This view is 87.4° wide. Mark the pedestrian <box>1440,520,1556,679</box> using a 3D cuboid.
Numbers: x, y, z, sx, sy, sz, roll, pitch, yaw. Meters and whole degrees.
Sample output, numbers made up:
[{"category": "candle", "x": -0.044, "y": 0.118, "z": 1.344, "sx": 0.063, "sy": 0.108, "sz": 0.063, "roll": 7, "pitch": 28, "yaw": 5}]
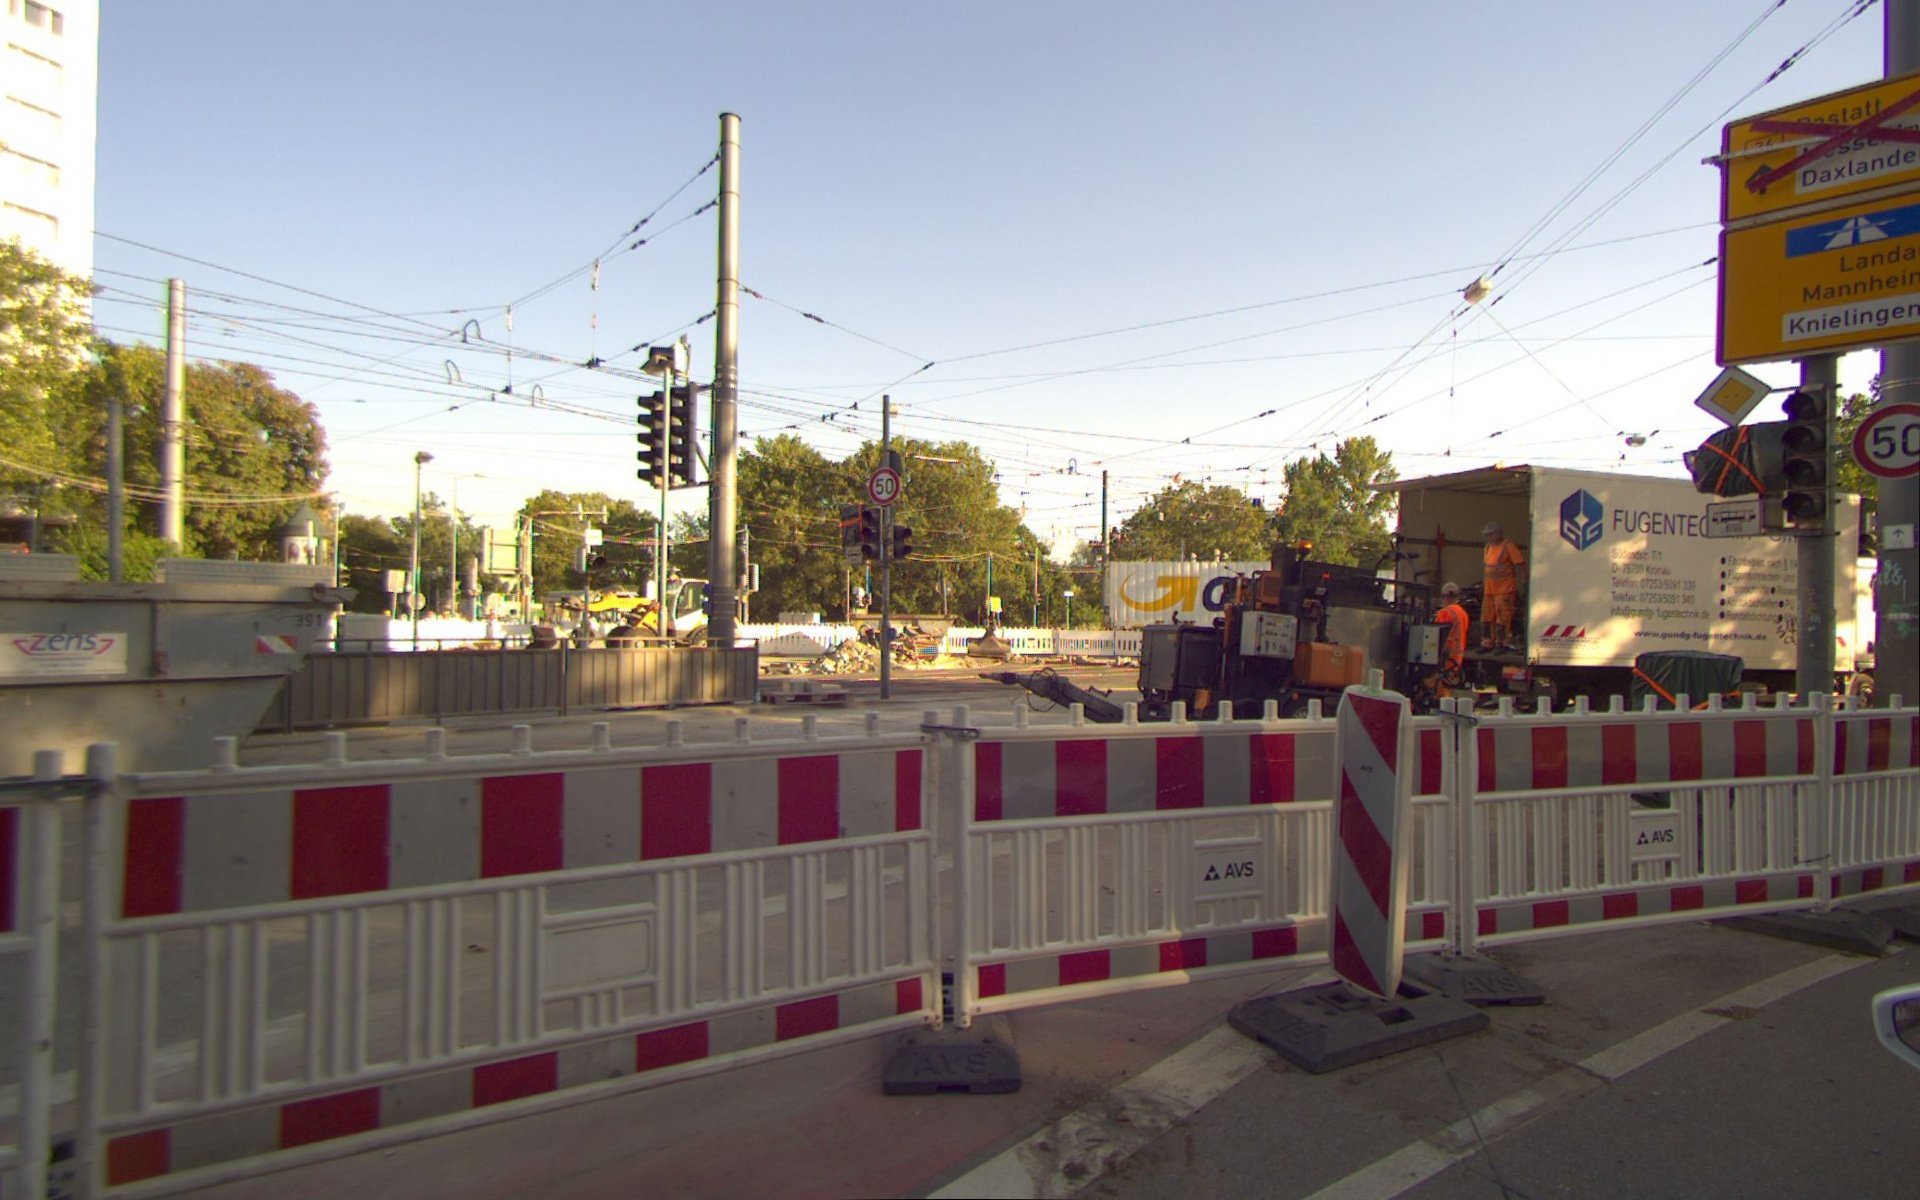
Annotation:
[{"category": "pedestrian", "x": 7.190, "y": -0.008, "z": 13.458, "sx": 0.985, "sy": 2.040, "sz": 0.935, "roll": -1, "pitch": 0, "yaw": -18}]

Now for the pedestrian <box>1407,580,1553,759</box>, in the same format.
[{"category": "pedestrian", "x": 5.644, "y": 0.720, "z": 10.931, "sx": 1.056, "sy": 1.822, "sz": 0.969, "roll": 1, "pitch": 0, "yaw": -26}]

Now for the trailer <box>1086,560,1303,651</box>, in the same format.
[{"category": "trailer", "x": 10.329, "y": 0.217, "z": 45.067, "sx": 9.062, "sy": 3.848, "sz": 2.896, "roll": 1, "pitch": 1, "yaw": 2}]

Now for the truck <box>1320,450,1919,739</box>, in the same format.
[{"category": "truck", "x": 10.064, "y": 0.006, "z": 15.059, "sx": 8.836, "sy": 3.588, "sz": 2.812, "roll": 1, "pitch": -1, "yaw": -16}]

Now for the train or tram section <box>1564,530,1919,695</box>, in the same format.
[{"category": "train or tram section", "x": 21.694, "y": 0.303, "z": 22.975, "sx": 13.134, "sy": 3.579, "sz": 2.859, "roll": 1, "pitch": -1, "yaw": 21}]

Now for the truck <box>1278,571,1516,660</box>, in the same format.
[{"category": "truck", "x": 20.044, "y": 0.767, "z": 46.193, "sx": 10.250, "sy": 3.840, "sz": 2.895, "roll": 1, "pitch": -1, "yaw": -12}]

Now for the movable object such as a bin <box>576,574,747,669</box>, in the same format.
[{"category": "movable object such as a bin", "x": -9.052, "y": 0.658, "z": 30.659, "sx": 4.565, "sy": 2.674, "sz": 2.131, "roll": 1, "pitch": -1, "yaw": -42}]

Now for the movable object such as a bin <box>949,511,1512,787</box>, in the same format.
[{"category": "movable object such as a bin", "x": 2.632, "y": 0.429, "z": 10.012, "sx": 5.123, "sy": 2.287, "sz": 1.993, "roll": 1, "pitch": 1, "yaw": -17}]
